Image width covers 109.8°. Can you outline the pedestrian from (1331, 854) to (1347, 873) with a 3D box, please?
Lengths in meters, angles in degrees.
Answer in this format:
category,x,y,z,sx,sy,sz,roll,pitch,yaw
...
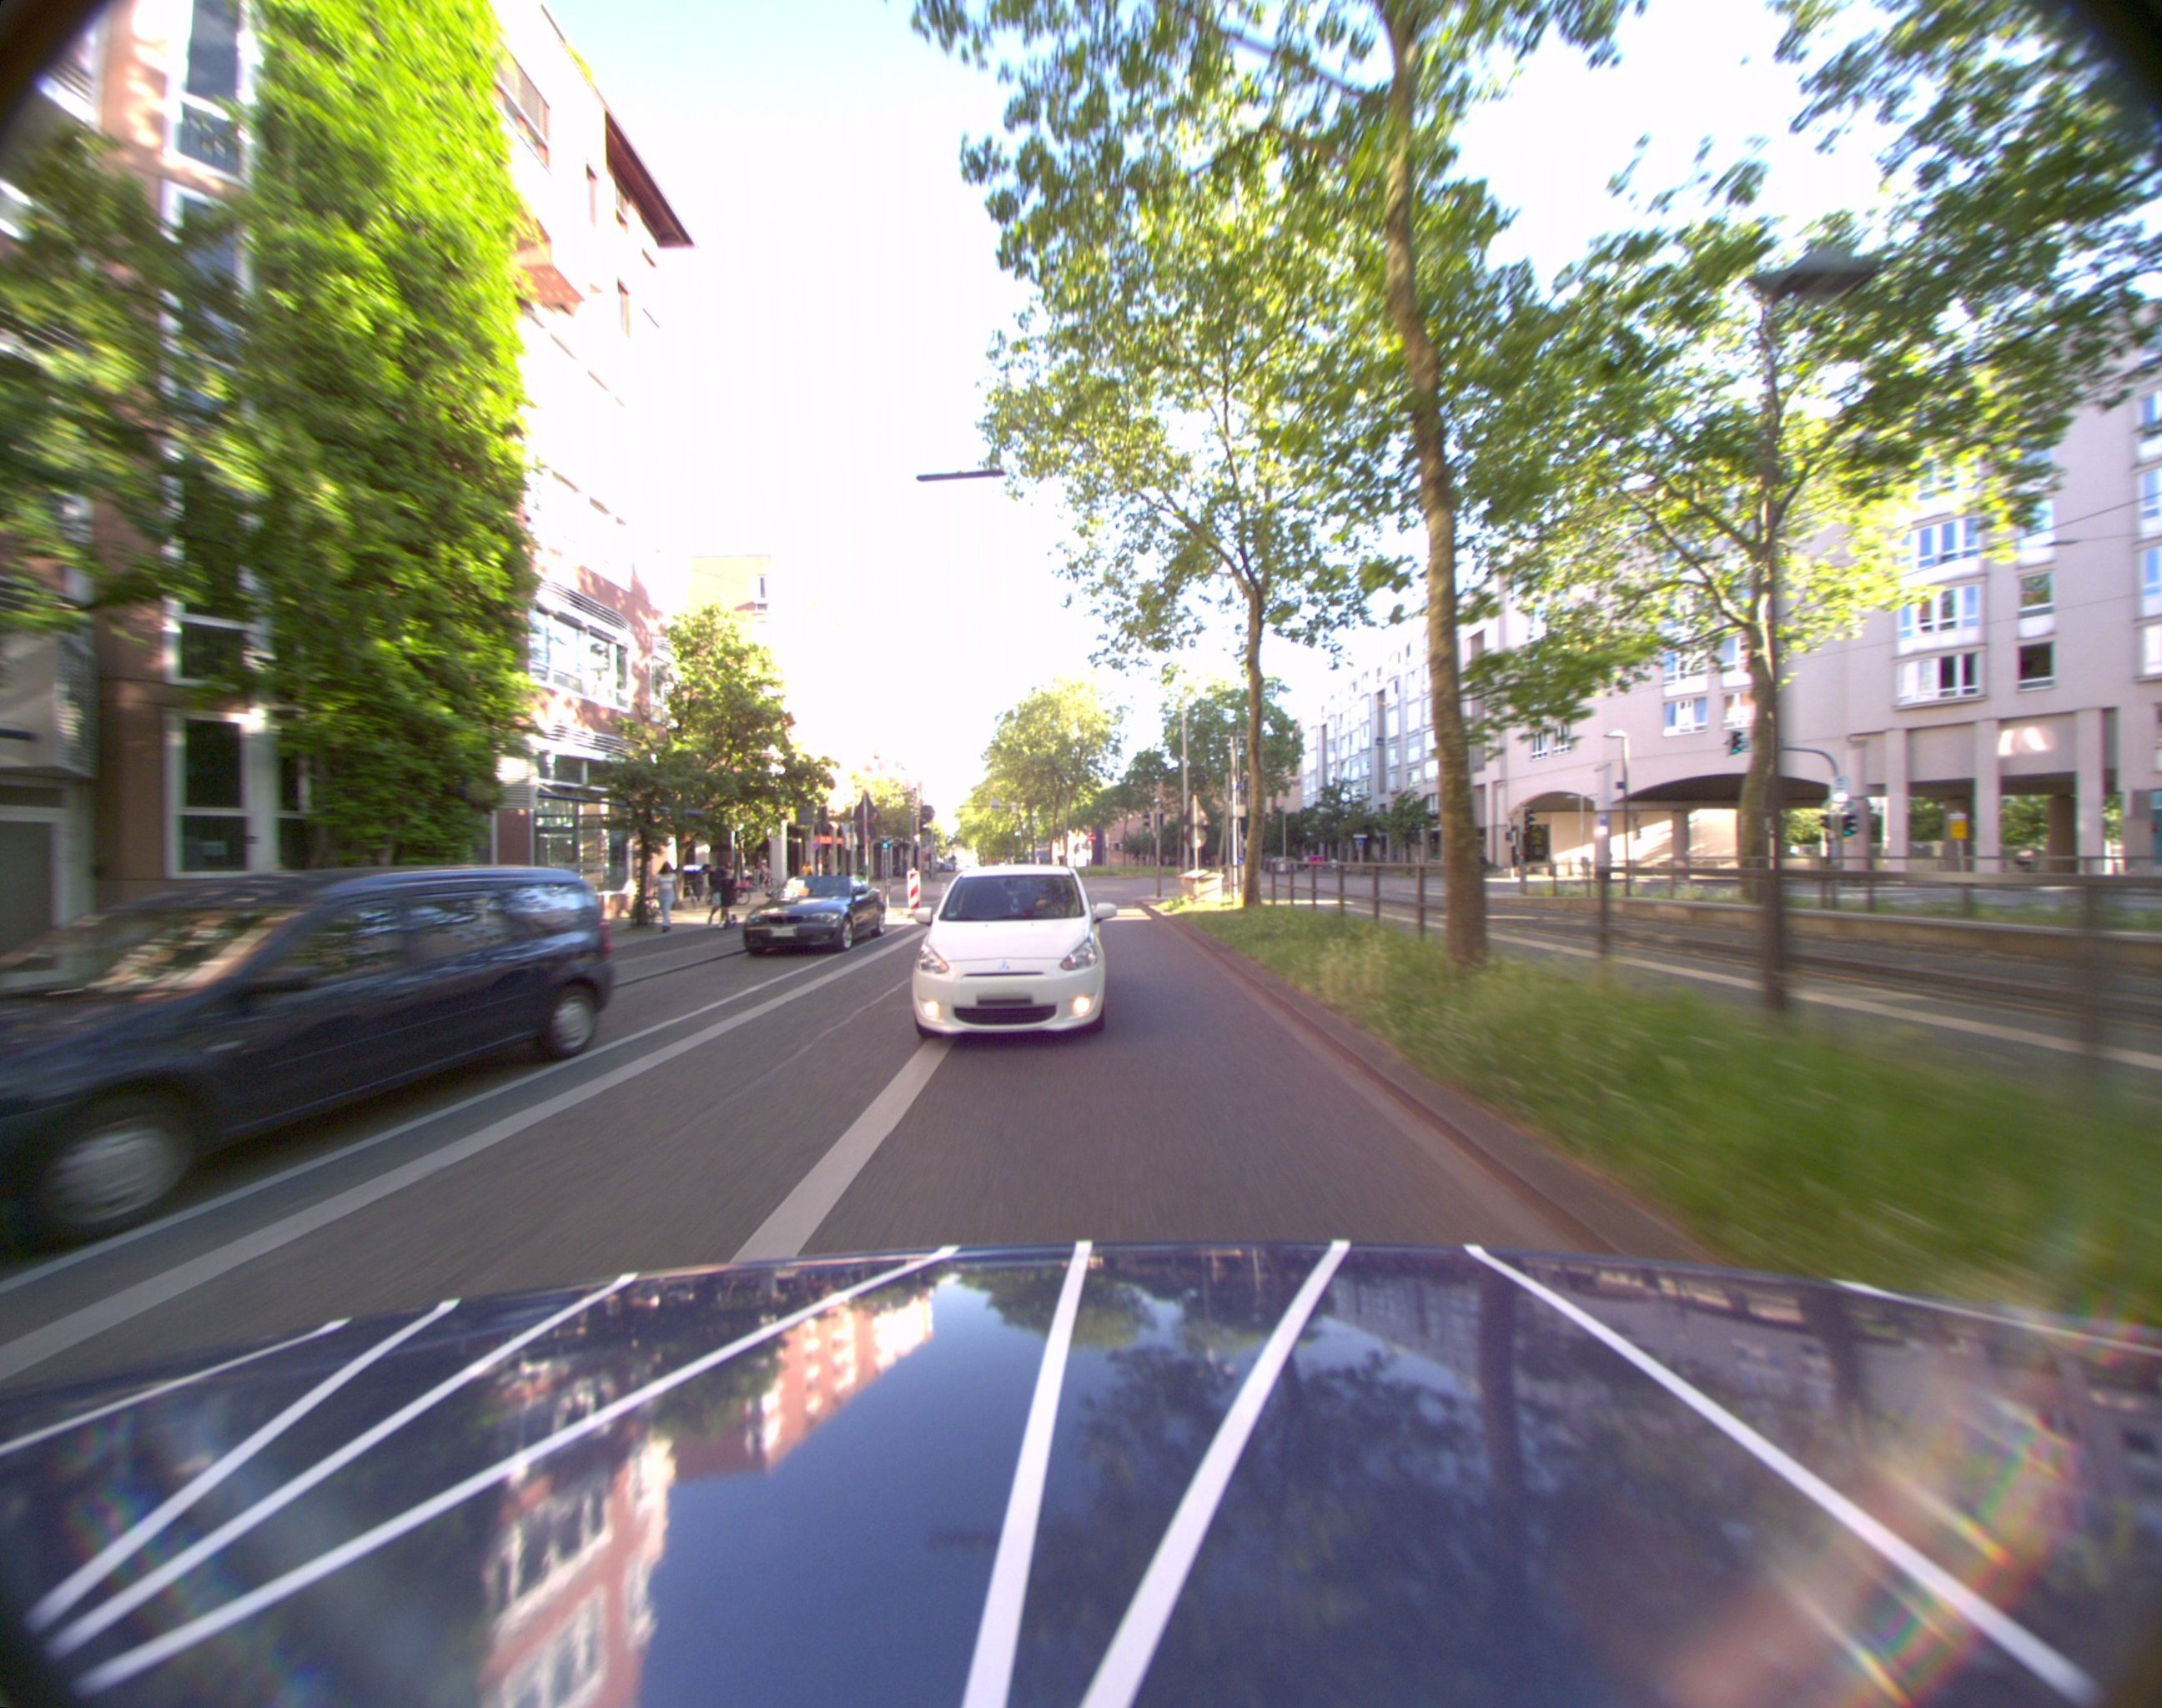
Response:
category,x,y,z,sx,sy,sz,roll,pitch,yaw
pedestrian,21.656,0.781,63.759,1.006,1.592,0.876,-2,1,6

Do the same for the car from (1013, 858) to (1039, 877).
category,x,y,z,sx,sy,sz,roll,pitch,yaw
car,-4.888,1.151,67.921,1.998,1.524,3.999,-2,1,0

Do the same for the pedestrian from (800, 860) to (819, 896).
category,x,y,z,sx,sy,sz,roll,pitch,yaw
pedestrian,-12.334,1.073,34.529,0.680,1.607,0.556,-1,1,-9

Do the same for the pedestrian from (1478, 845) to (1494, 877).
category,x,y,z,sx,sy,sz,roll,pitch,yaw
pedestrian,26.566,0.464,49.832,0.874,2.002,1.008,-2,1,28

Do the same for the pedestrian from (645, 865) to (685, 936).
category,x,y,z,sx,sy,sz,roll,pitch,yaw
pedestrian,-9.610,1.071,17.553,0.563,1.598,0.599,-1,1,0

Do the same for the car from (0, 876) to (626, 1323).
category,x,y,z,sx,sy,sz,roll,pitch,yaw
car,-5.099,1.022,4.734,1.808,1.617,4.475,-1,0,0

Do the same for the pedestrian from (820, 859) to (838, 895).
category,x,y,z,sx,sy,sz,roll,pitch,yaw
pedestrian,-11.444,1.038,34.484,0.680,1.607,0.556,-1,1,-9

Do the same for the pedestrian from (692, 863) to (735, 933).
category,x,y,z,sx,sy,sz,roll,pitch,yaw
pedestrian,-8.650,1.020,17.919,0.641,1.598,0.720,-1,1,0

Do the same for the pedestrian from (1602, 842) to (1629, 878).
category,x,y,z,sx,sy,sz,roll,pitch,yaw
pedestrian,31.033,0.343,44.115,0.875,2.002,1.007,-2,1,7

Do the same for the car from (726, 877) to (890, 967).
category,x,y,z,sx,sy,sz,roll,pitch,yaw
car,-4.944,1.159,14.381,1.809,1.322,3.990,-1,0,-3

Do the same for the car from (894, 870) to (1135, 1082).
category,x,y,z,sx,sy,sz,roll,pitch,yaw
car,-0.591,0.964,7.877,1.809,1.492,4.199,-1,0,-3
